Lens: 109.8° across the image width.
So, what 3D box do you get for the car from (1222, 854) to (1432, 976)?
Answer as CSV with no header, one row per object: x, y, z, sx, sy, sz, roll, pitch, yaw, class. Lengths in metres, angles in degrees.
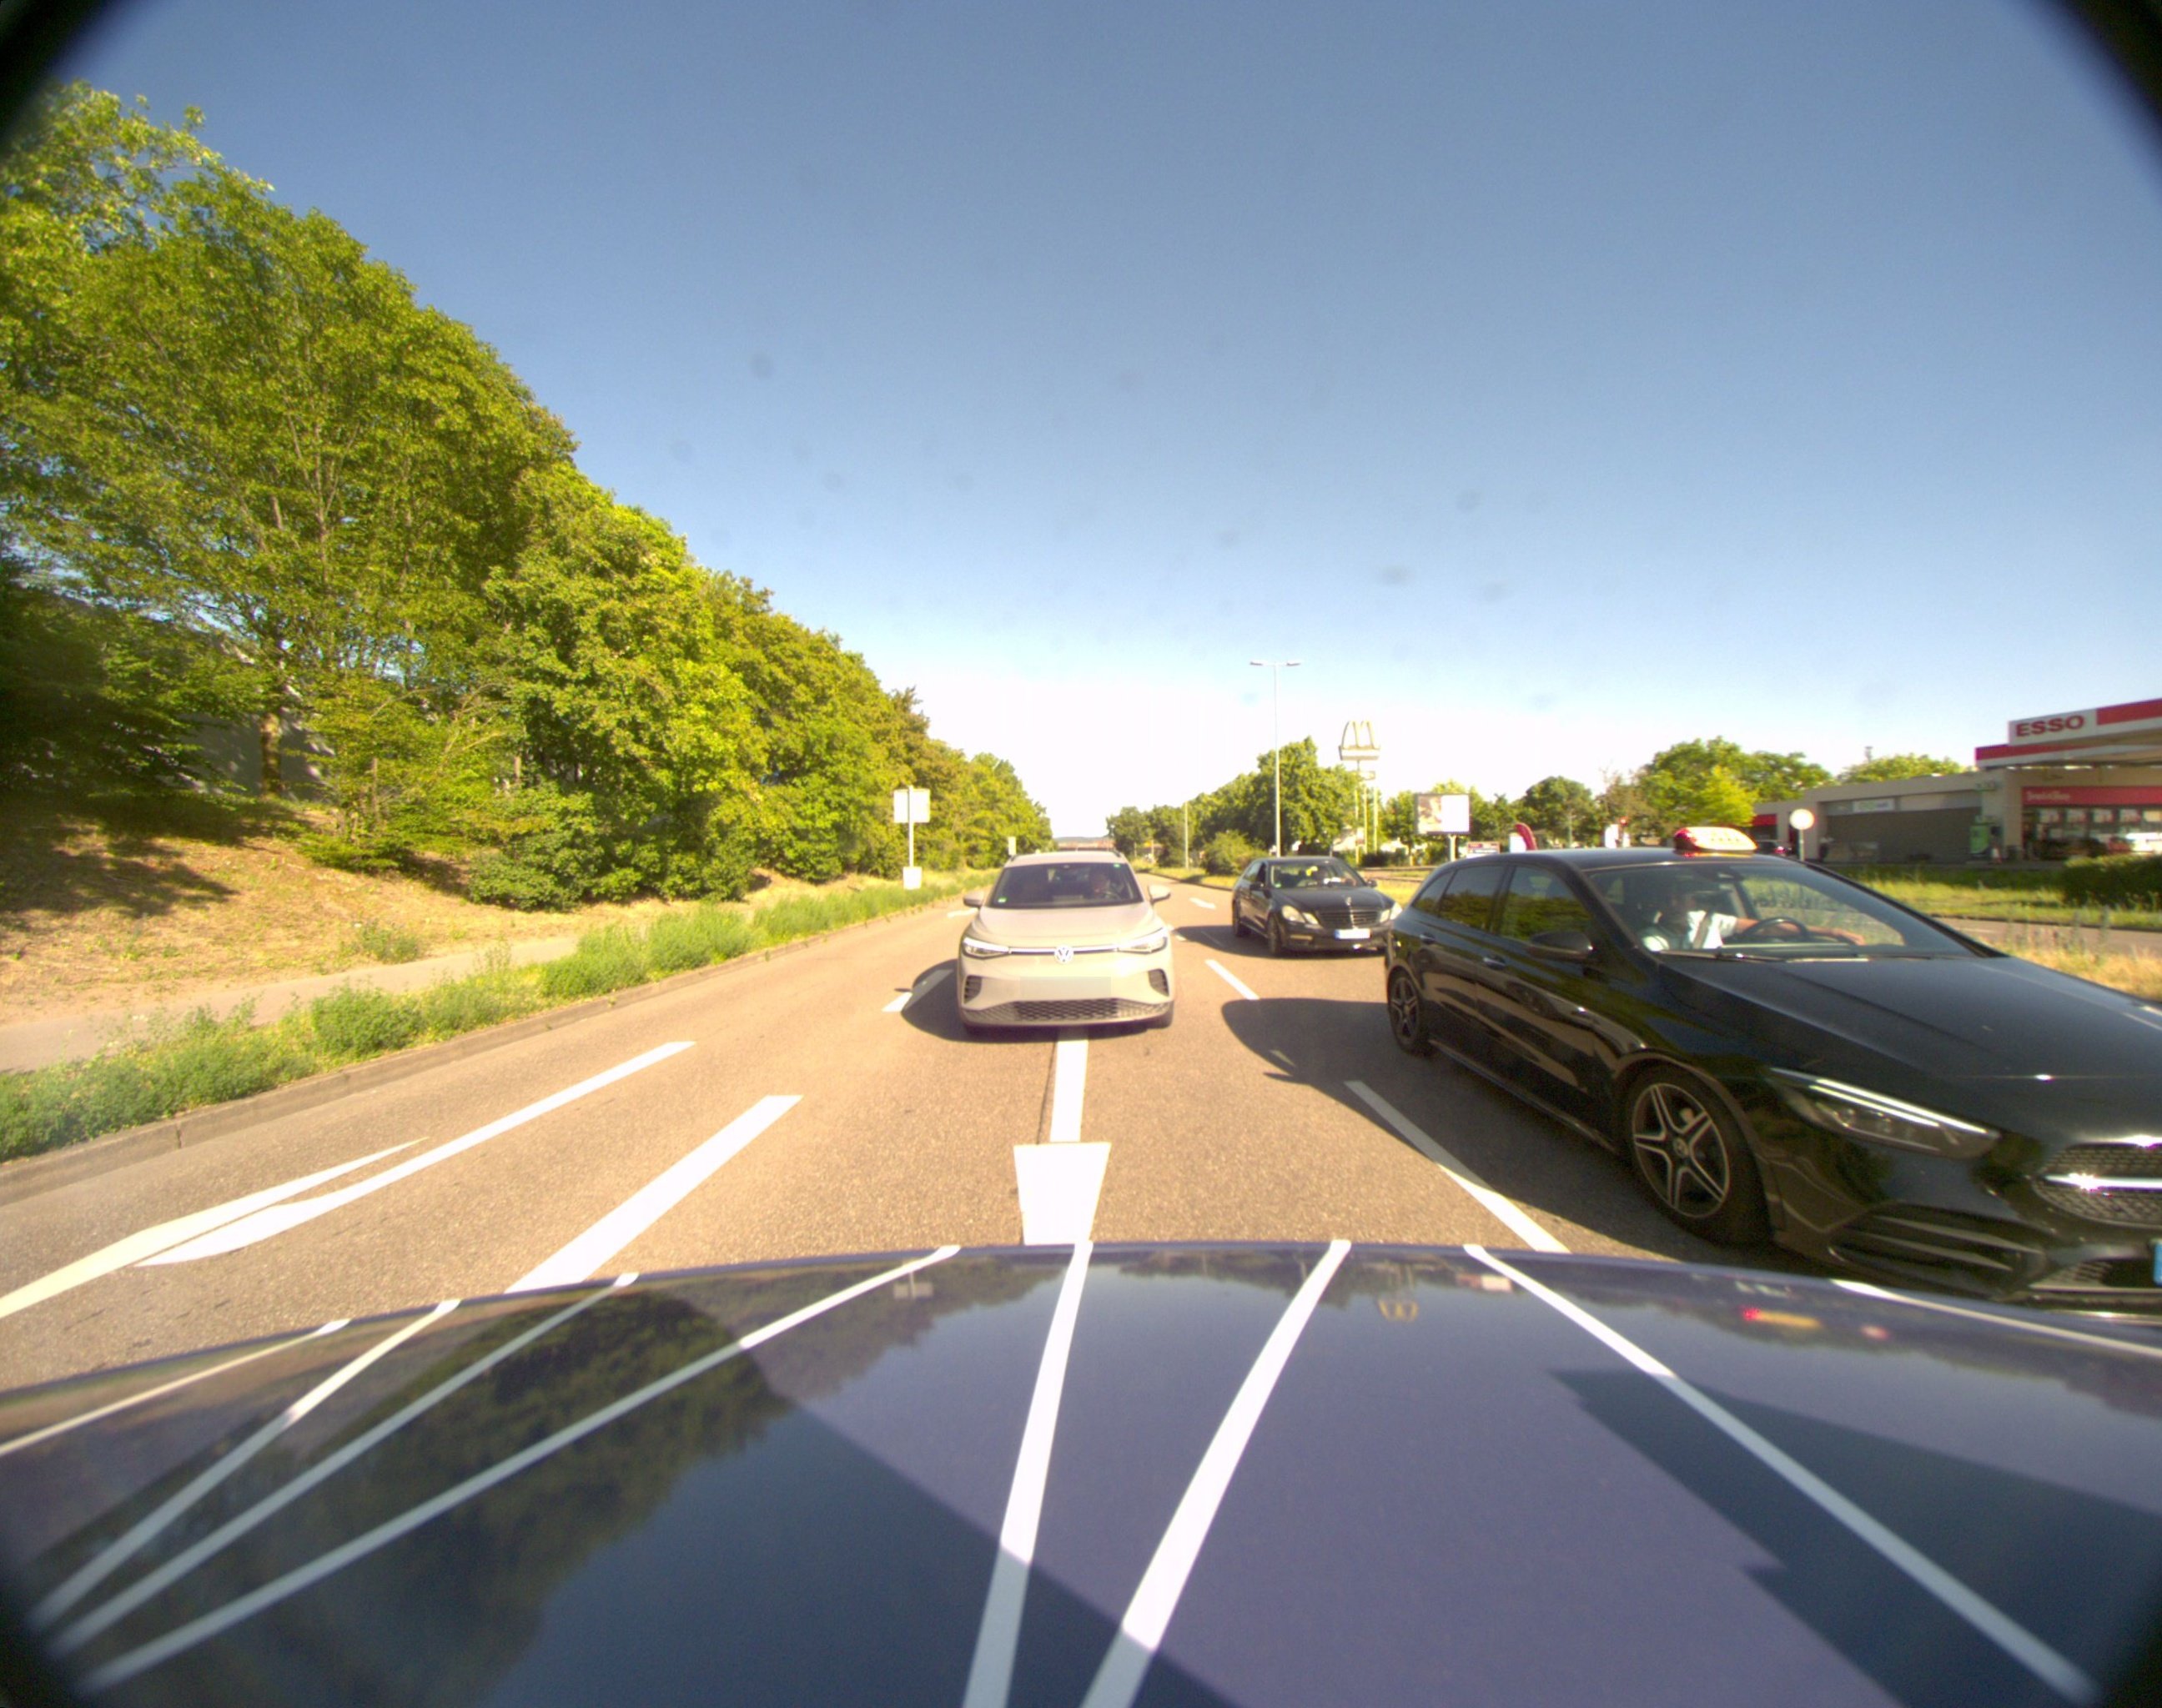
3.685,0.815,12.328,1.953,1.501,4.462,-2,1,1,car

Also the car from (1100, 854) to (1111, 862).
4.492,0.702,141.215,1.998,1.433,4.000,-1,0,1,car

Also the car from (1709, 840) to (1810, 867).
37.041,-0.014,41.641,1.998,1.397,4.000,-1,0,0,car

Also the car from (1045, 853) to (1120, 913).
0.071,0.813,23.351,2.036,1.601,4.098,-2,0,1,car

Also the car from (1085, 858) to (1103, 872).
1.515,1.256,88.432,1.998,1.434,4.000,-2,1,2,car

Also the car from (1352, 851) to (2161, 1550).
3.181,0.810,4.068,1.788,1.592,4.583,-2,0,0,car

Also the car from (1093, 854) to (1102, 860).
4.059,0.829,186.902,1.998,1.433,4.000,-1,0,1,car

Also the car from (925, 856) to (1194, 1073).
-0.141,0.870,7.949,2.025,1.601,4.098,-2,0,1,car
